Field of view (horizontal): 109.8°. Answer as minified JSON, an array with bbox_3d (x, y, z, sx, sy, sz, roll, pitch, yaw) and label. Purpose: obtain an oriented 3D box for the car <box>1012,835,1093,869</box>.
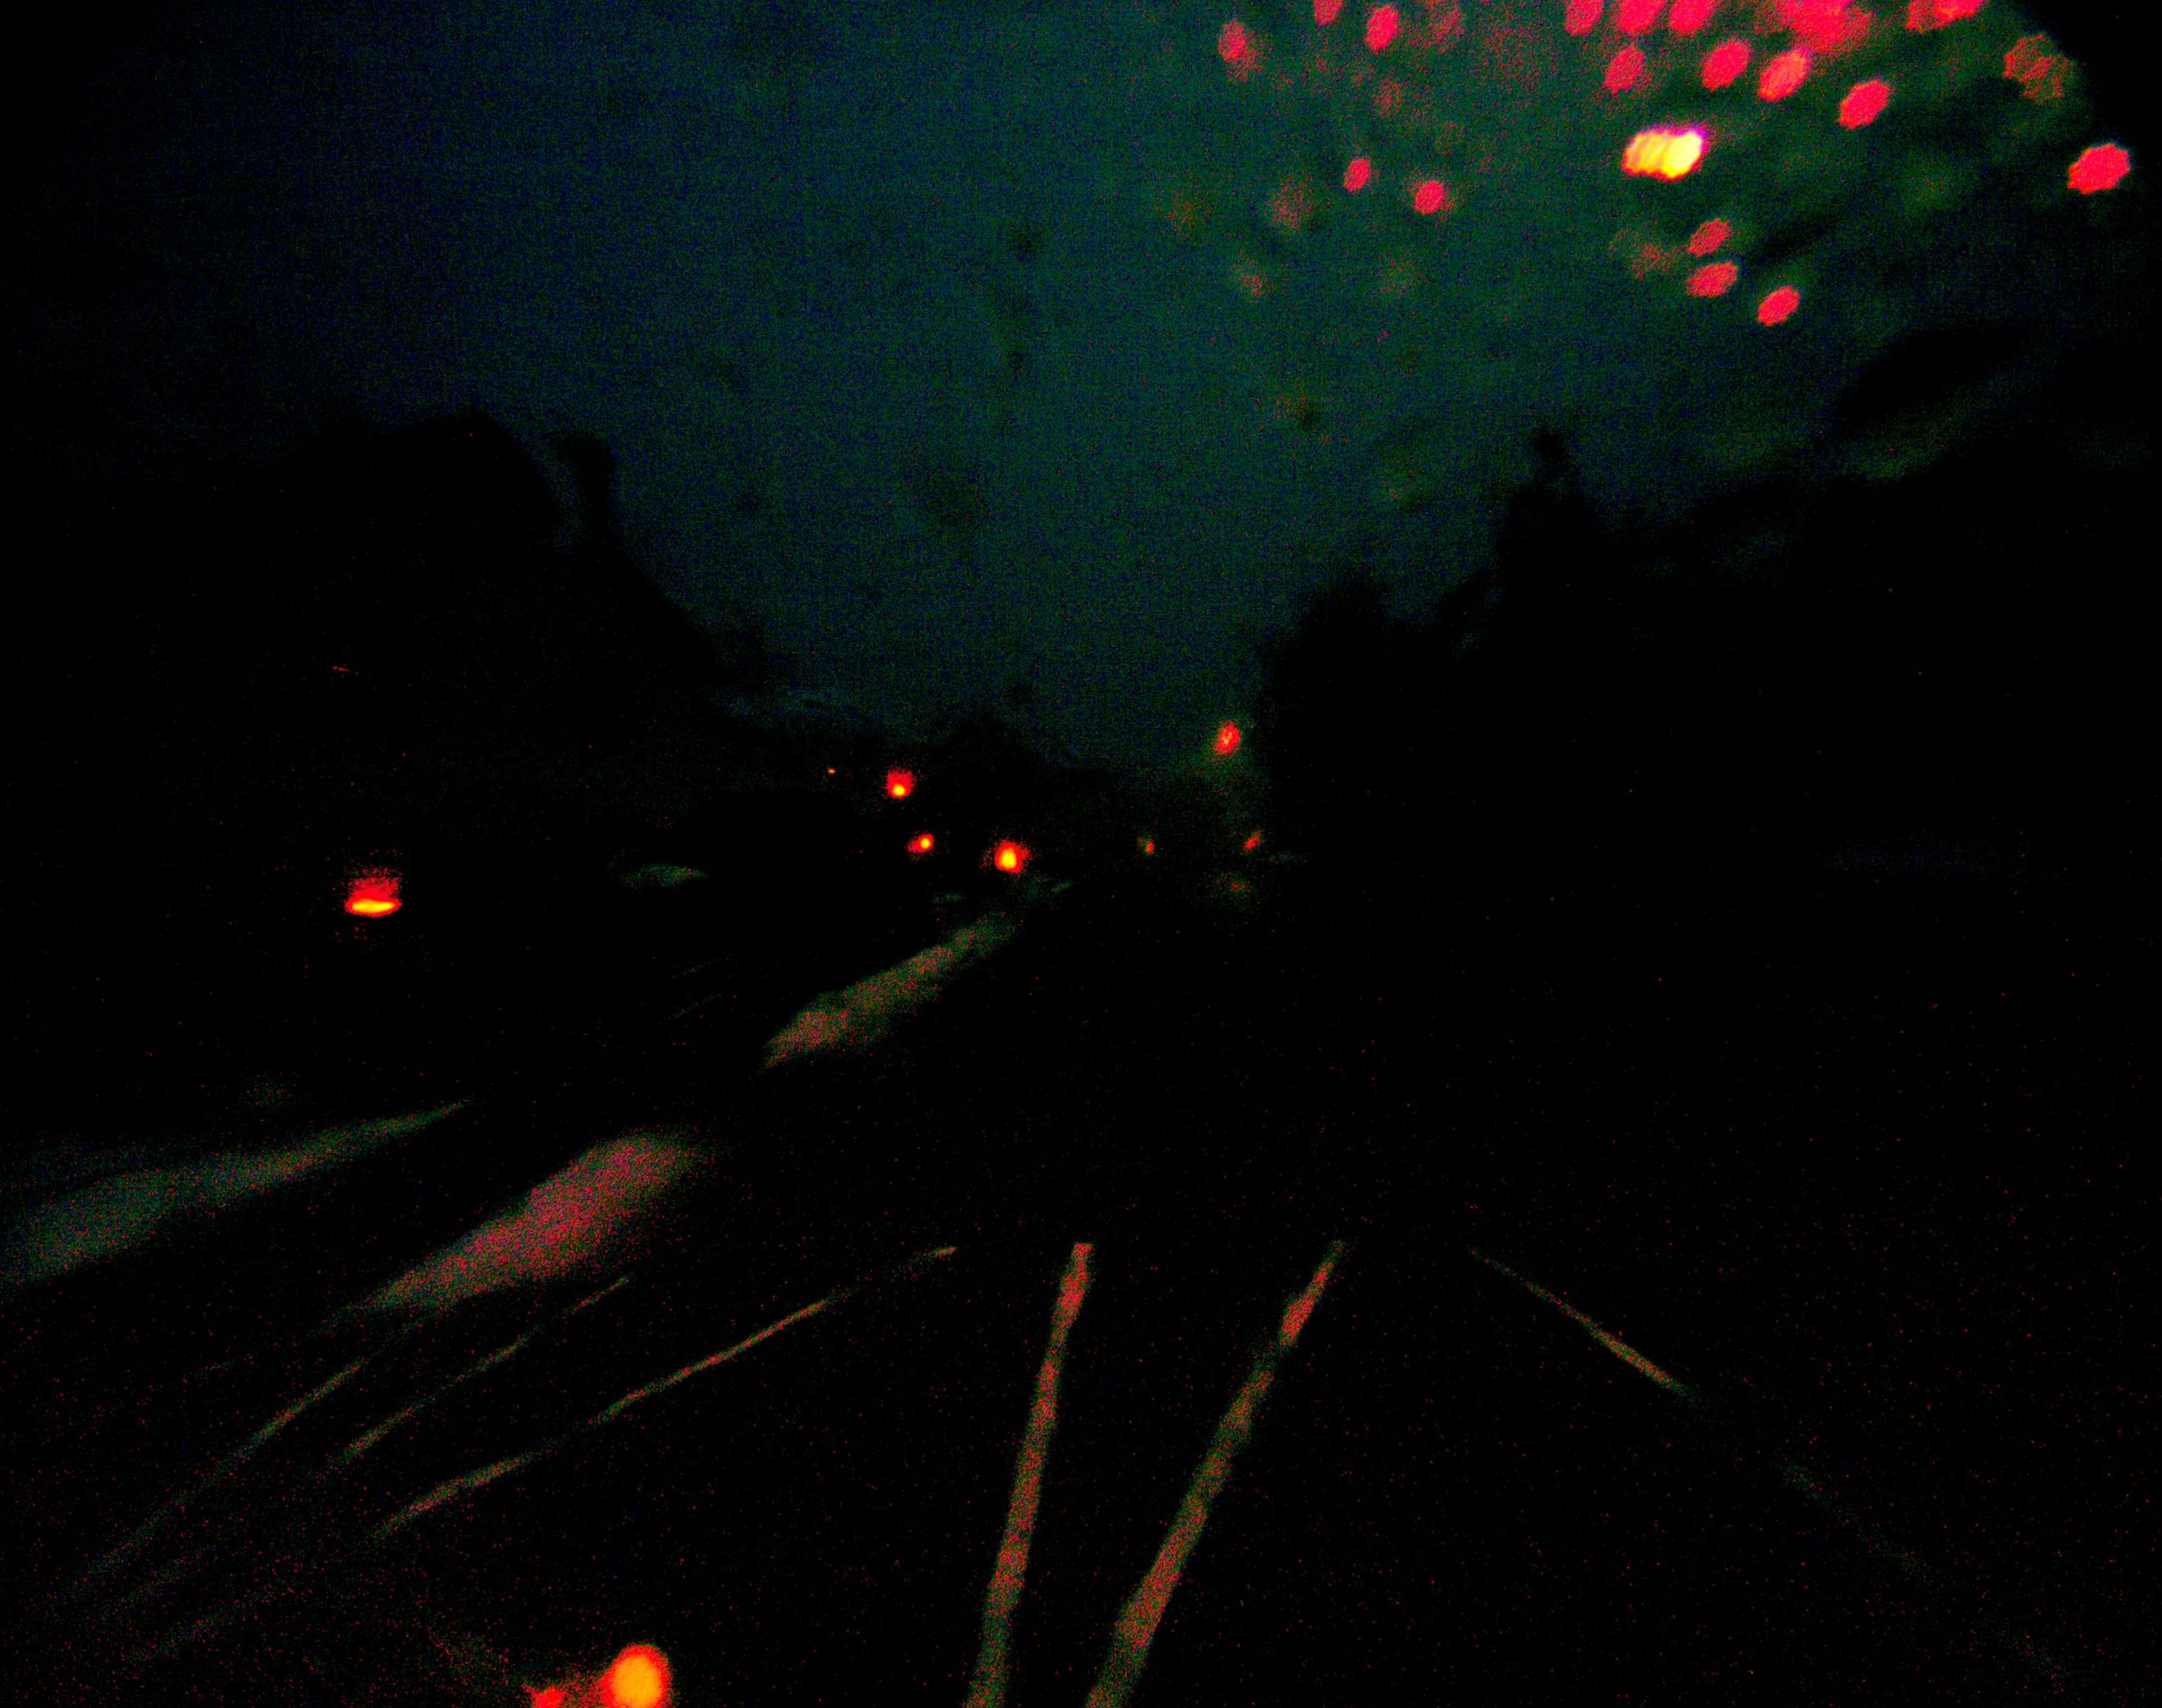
[{"bbox_3d":[-1.631,-0.116,43.704,4.210,1.848,1.913,-1,3,20],"label":"car"}]
